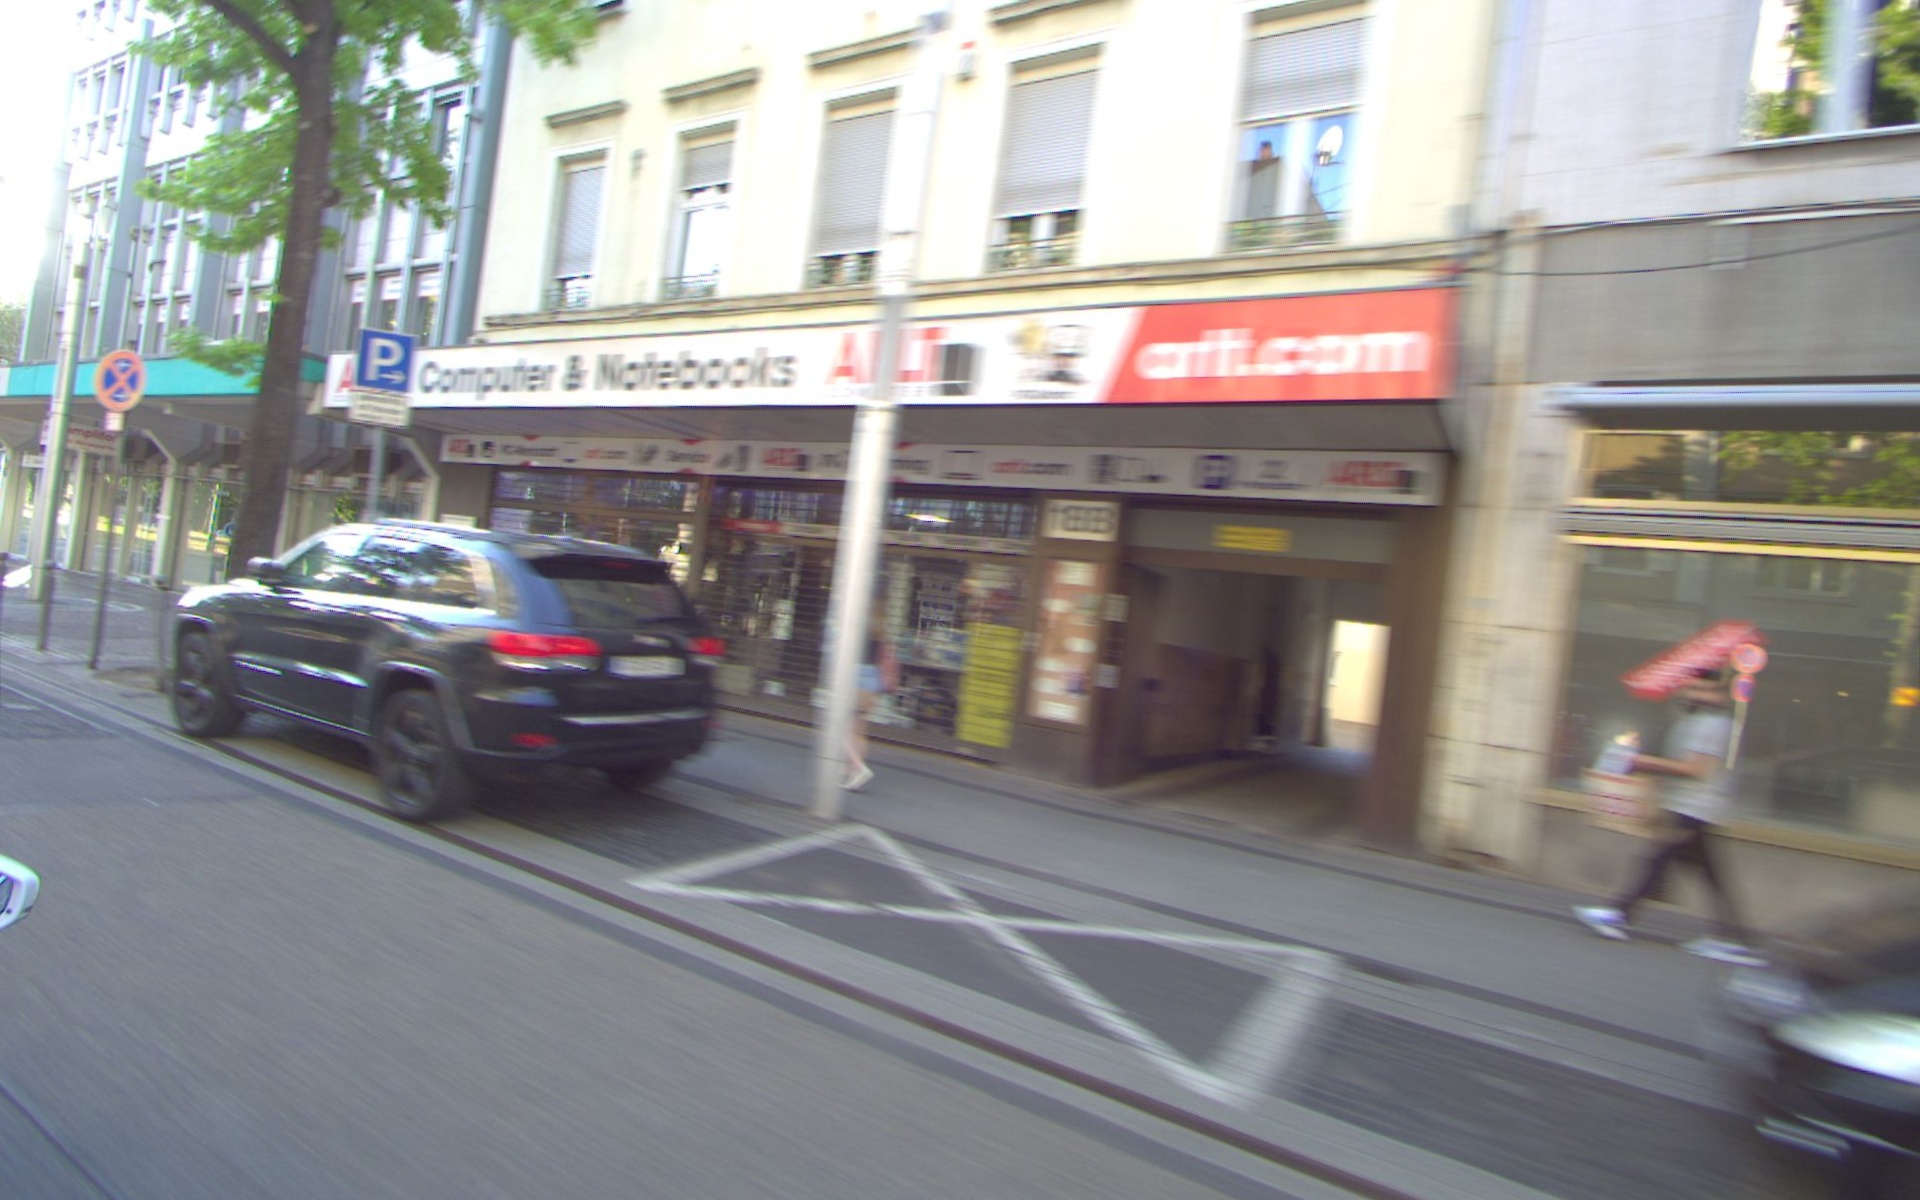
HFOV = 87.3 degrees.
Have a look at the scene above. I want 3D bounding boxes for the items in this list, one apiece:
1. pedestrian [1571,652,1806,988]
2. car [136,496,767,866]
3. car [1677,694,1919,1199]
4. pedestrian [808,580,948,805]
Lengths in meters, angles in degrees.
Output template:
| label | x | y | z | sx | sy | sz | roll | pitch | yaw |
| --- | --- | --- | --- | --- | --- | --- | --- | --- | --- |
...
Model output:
| label | x | y | z | sx | sy | sz | roll | pitch | yaw |
| --- | --- | --- | --- | --- | --- | --- | --- | --- | --- |
| pedestrian | 4.424 | 1.265 | 6.212 | 0.917 | 1.776 | 0.858 | 7 | 3 | 31 |
| car | -3.875 | 0.350 | 7.408 | 4.601 | 1.783 | 1.939 | 7 | 2 | 31 |
| car | 4.544 | 1.390 | 2.817 | 3.826 | 1.612 | 1.777 | 7 | 2 | 31 |
| pedestrian | -0.672 | 0.734 | 8.283 | 0.773 | 1.692 | 0.643 | 7 | 3 | 31 |
